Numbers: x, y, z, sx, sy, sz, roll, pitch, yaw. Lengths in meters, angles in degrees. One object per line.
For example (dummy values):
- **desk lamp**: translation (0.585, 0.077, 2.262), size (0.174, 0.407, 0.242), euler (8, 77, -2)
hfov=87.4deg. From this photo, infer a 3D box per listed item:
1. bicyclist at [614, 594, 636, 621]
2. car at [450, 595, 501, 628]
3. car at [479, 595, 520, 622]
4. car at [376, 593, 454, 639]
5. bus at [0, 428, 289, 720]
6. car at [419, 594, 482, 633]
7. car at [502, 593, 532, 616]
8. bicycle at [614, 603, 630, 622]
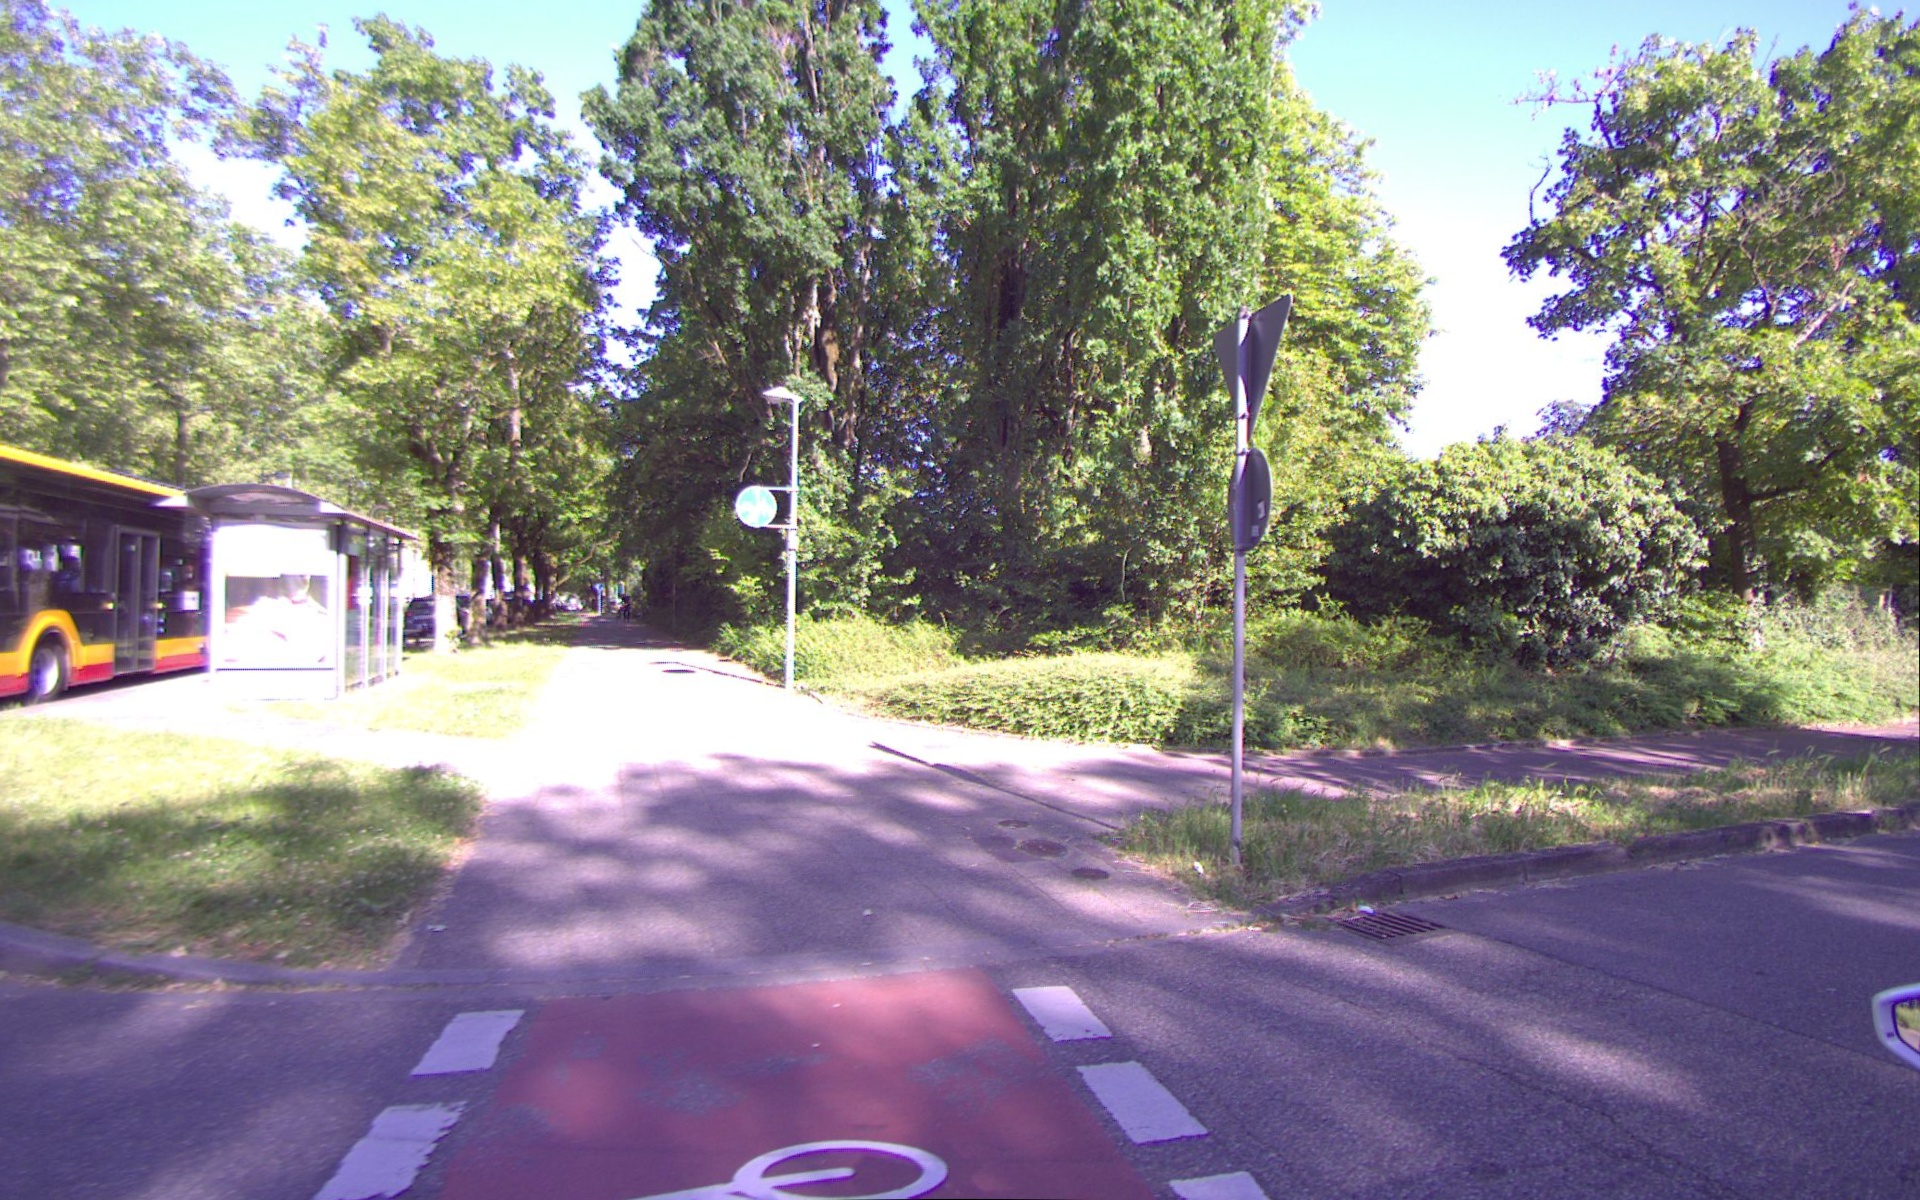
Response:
- **bicyclist**: translation (-21.083, 0.496, 63.290), size (1.168, 1.683, 1.022), euler (1, 0, -27)
- **car**: translation (-23.660, 0.557, 49.118), size (1.772, 1.530, 3.983), euler (1, 0, -19)
- **car**: translation (-26.963, 0.497, 58.869), size (1.772, 1.530, 3.983), euler (1, 0, -19)
- **car**: translation (-19.325, 0.562, 35.747), size (1.772, 1.530, 3.983), euler (1, 0, -19)
- **bus**: translation (-13.634, -0.314, 15.016), size (2.864, 3.310, 12.166), euler (1, 0, -19)
- **car**: translation (-21.332, 0.563, 42.183), size (1.772, 1.530, 3.983), euler (1, 0, -19)
- **car**: translation (-35.011, 0.364, 79.464), size (1.772, 1.698, 3.983), euler (1, 0, -19)
- **bicycle**: translation (-21.276, 0.780, 63.197), size (0.749, 1.122, 1.788), euler (1, 0, -26)
